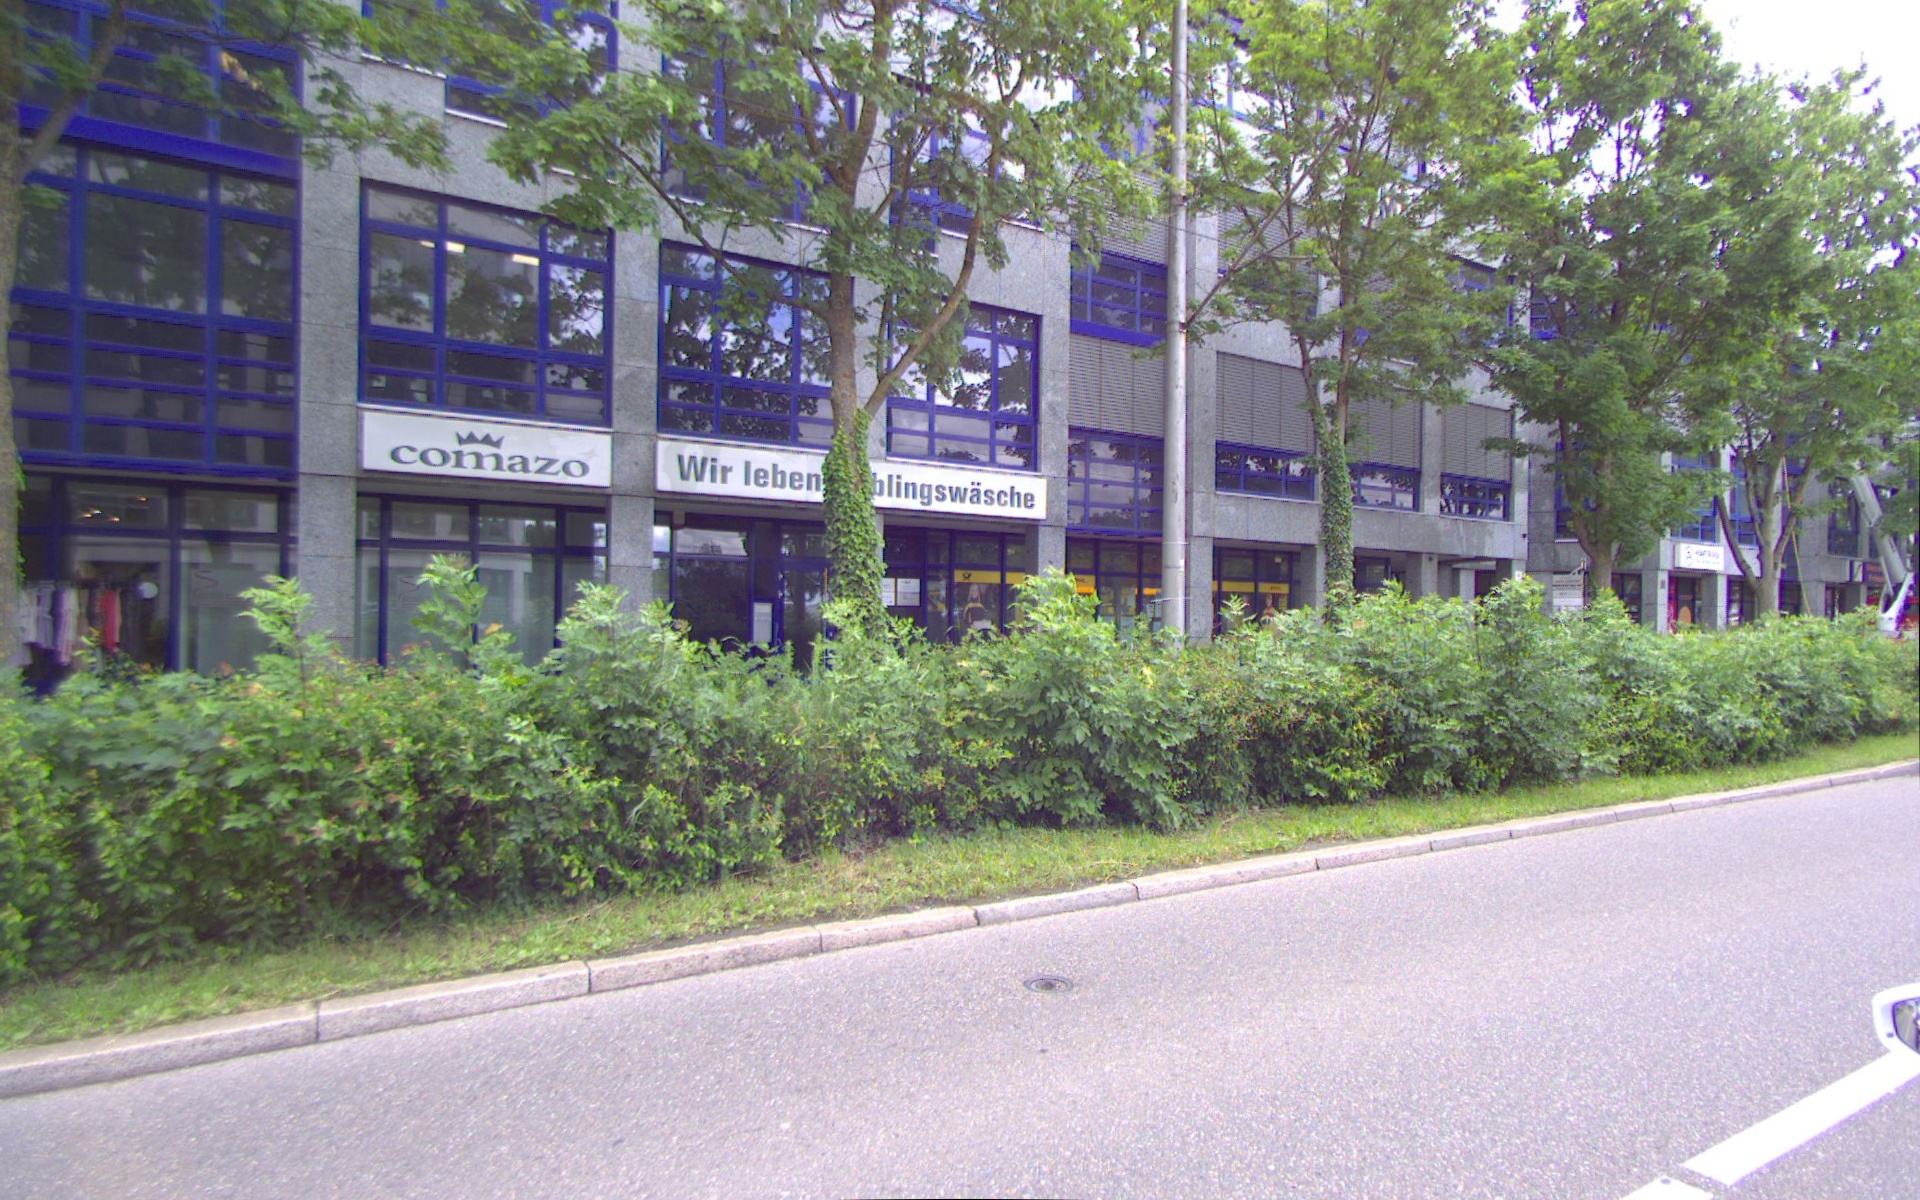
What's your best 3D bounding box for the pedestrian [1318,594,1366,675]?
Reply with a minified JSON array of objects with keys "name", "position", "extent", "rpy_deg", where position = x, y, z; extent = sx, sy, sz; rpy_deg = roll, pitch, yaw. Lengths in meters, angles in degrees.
[{"name":"pedestrian","position":[9.245,0.828,24.308],"extent":[0.723,1.919,0.771],"rpy_deg":[2,0,-30]}]
